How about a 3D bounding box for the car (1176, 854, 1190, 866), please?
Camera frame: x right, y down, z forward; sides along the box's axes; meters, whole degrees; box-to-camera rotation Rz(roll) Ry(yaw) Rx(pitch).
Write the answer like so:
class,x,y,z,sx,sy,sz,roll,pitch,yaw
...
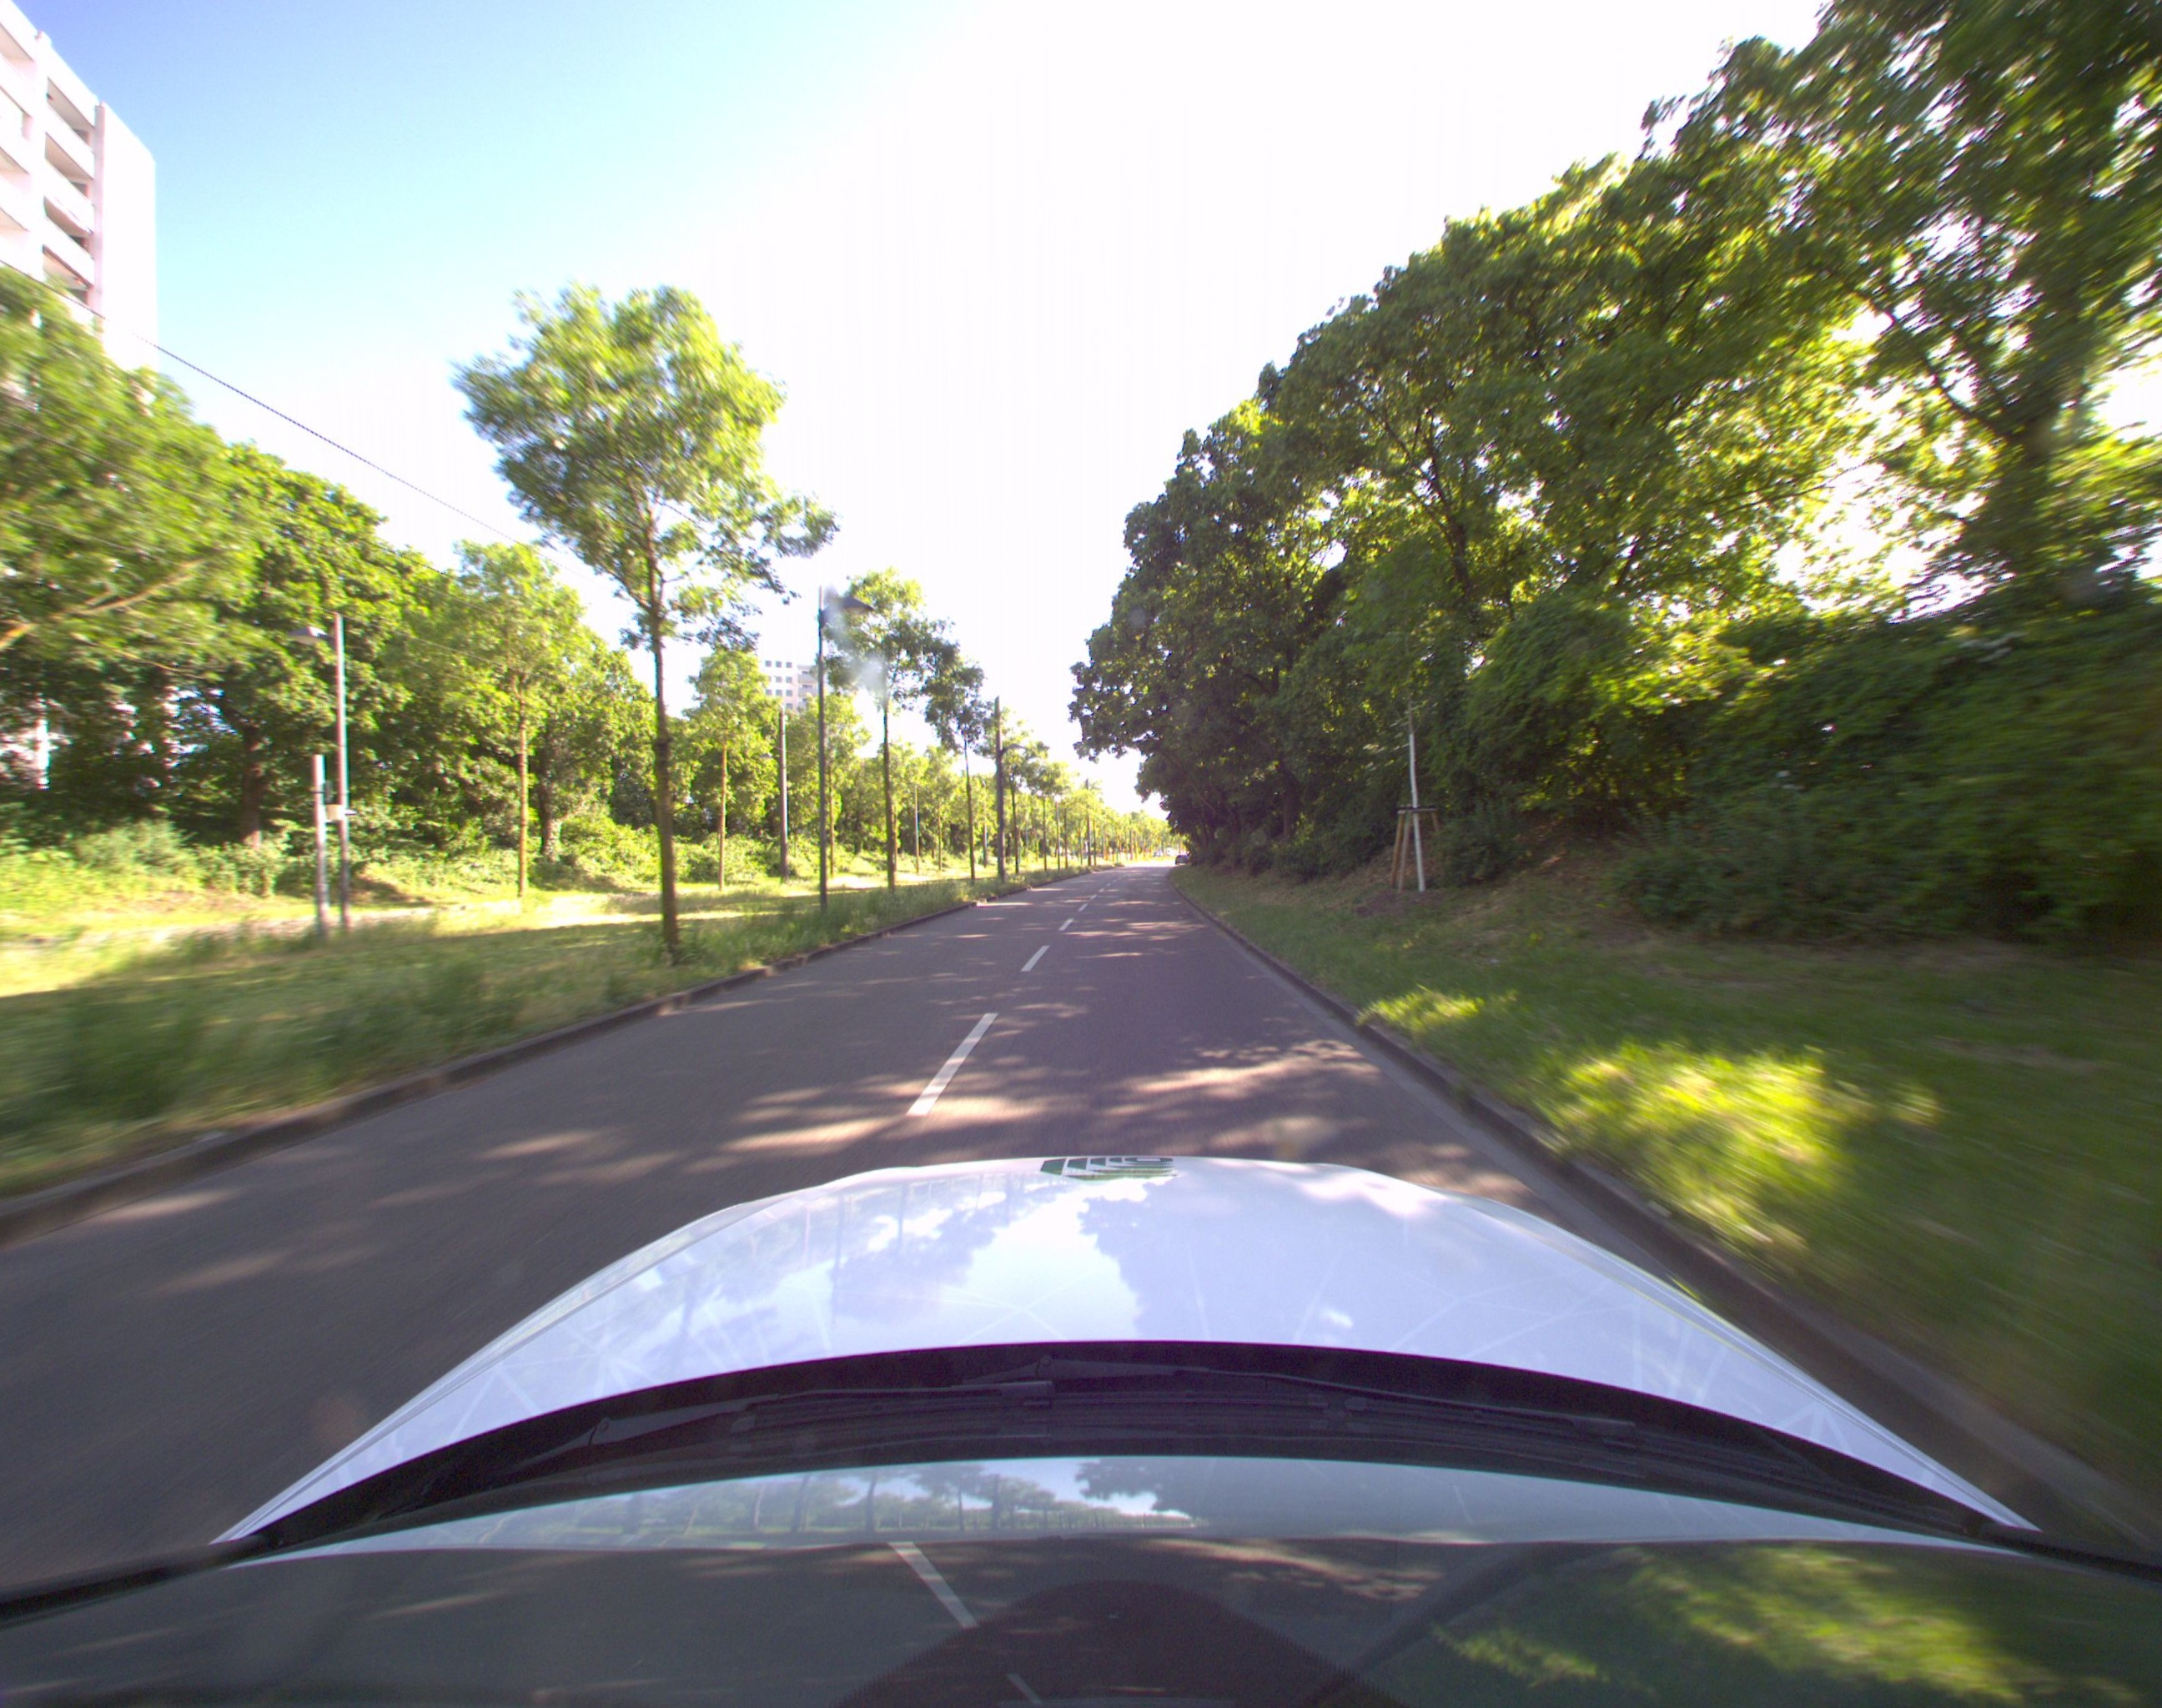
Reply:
class,x,y,z,sx,sy,sz,roll,pitch,yaw
car,13.769,0.796,110.184,1.624,1.498,4.247,-1,0,10
